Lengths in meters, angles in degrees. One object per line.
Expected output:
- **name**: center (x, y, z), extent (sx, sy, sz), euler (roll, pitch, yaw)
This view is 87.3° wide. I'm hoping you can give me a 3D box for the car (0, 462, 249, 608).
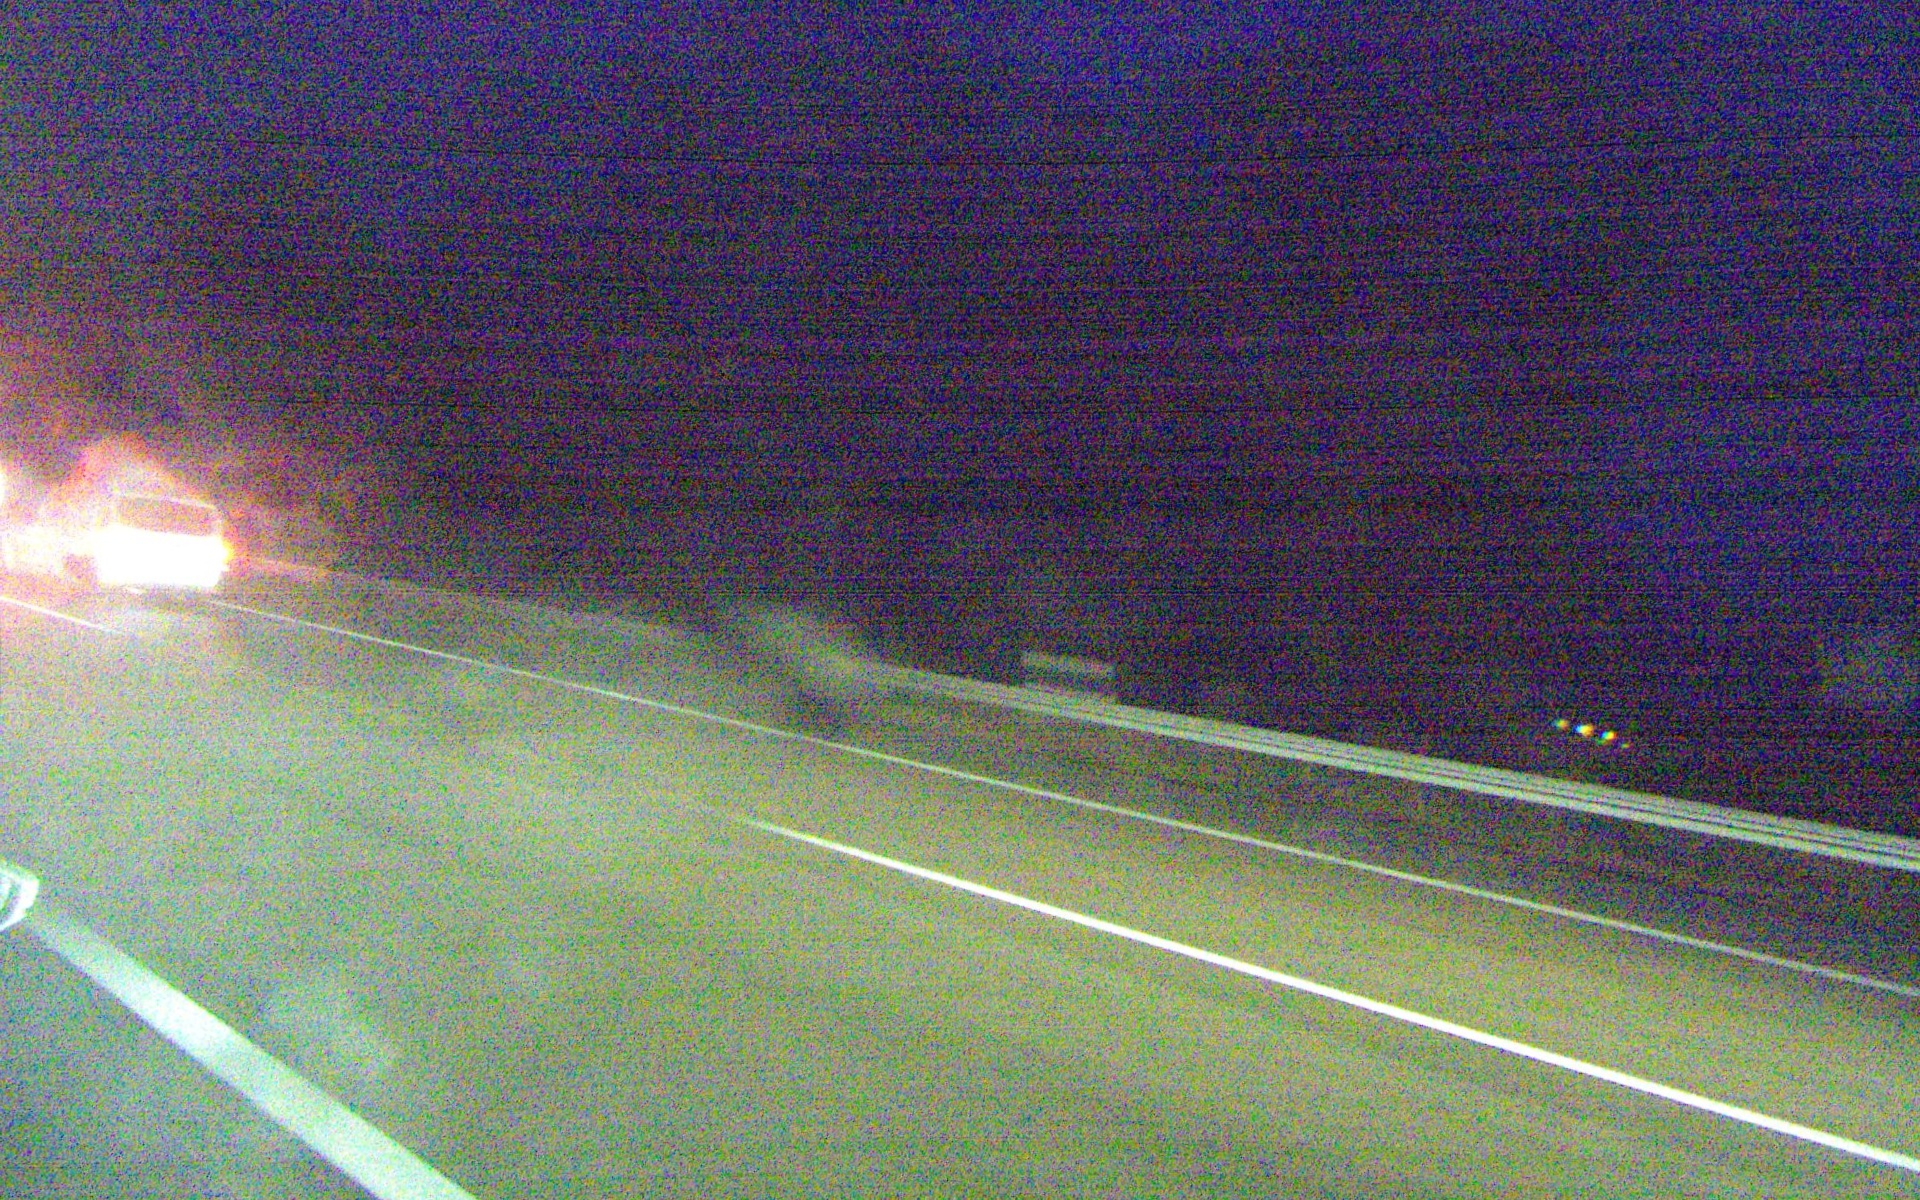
- **car**: center (-14.984, -1.192, 17.611), extent (5.315, 2.000, 2.048), euler (7, 2, 30)
